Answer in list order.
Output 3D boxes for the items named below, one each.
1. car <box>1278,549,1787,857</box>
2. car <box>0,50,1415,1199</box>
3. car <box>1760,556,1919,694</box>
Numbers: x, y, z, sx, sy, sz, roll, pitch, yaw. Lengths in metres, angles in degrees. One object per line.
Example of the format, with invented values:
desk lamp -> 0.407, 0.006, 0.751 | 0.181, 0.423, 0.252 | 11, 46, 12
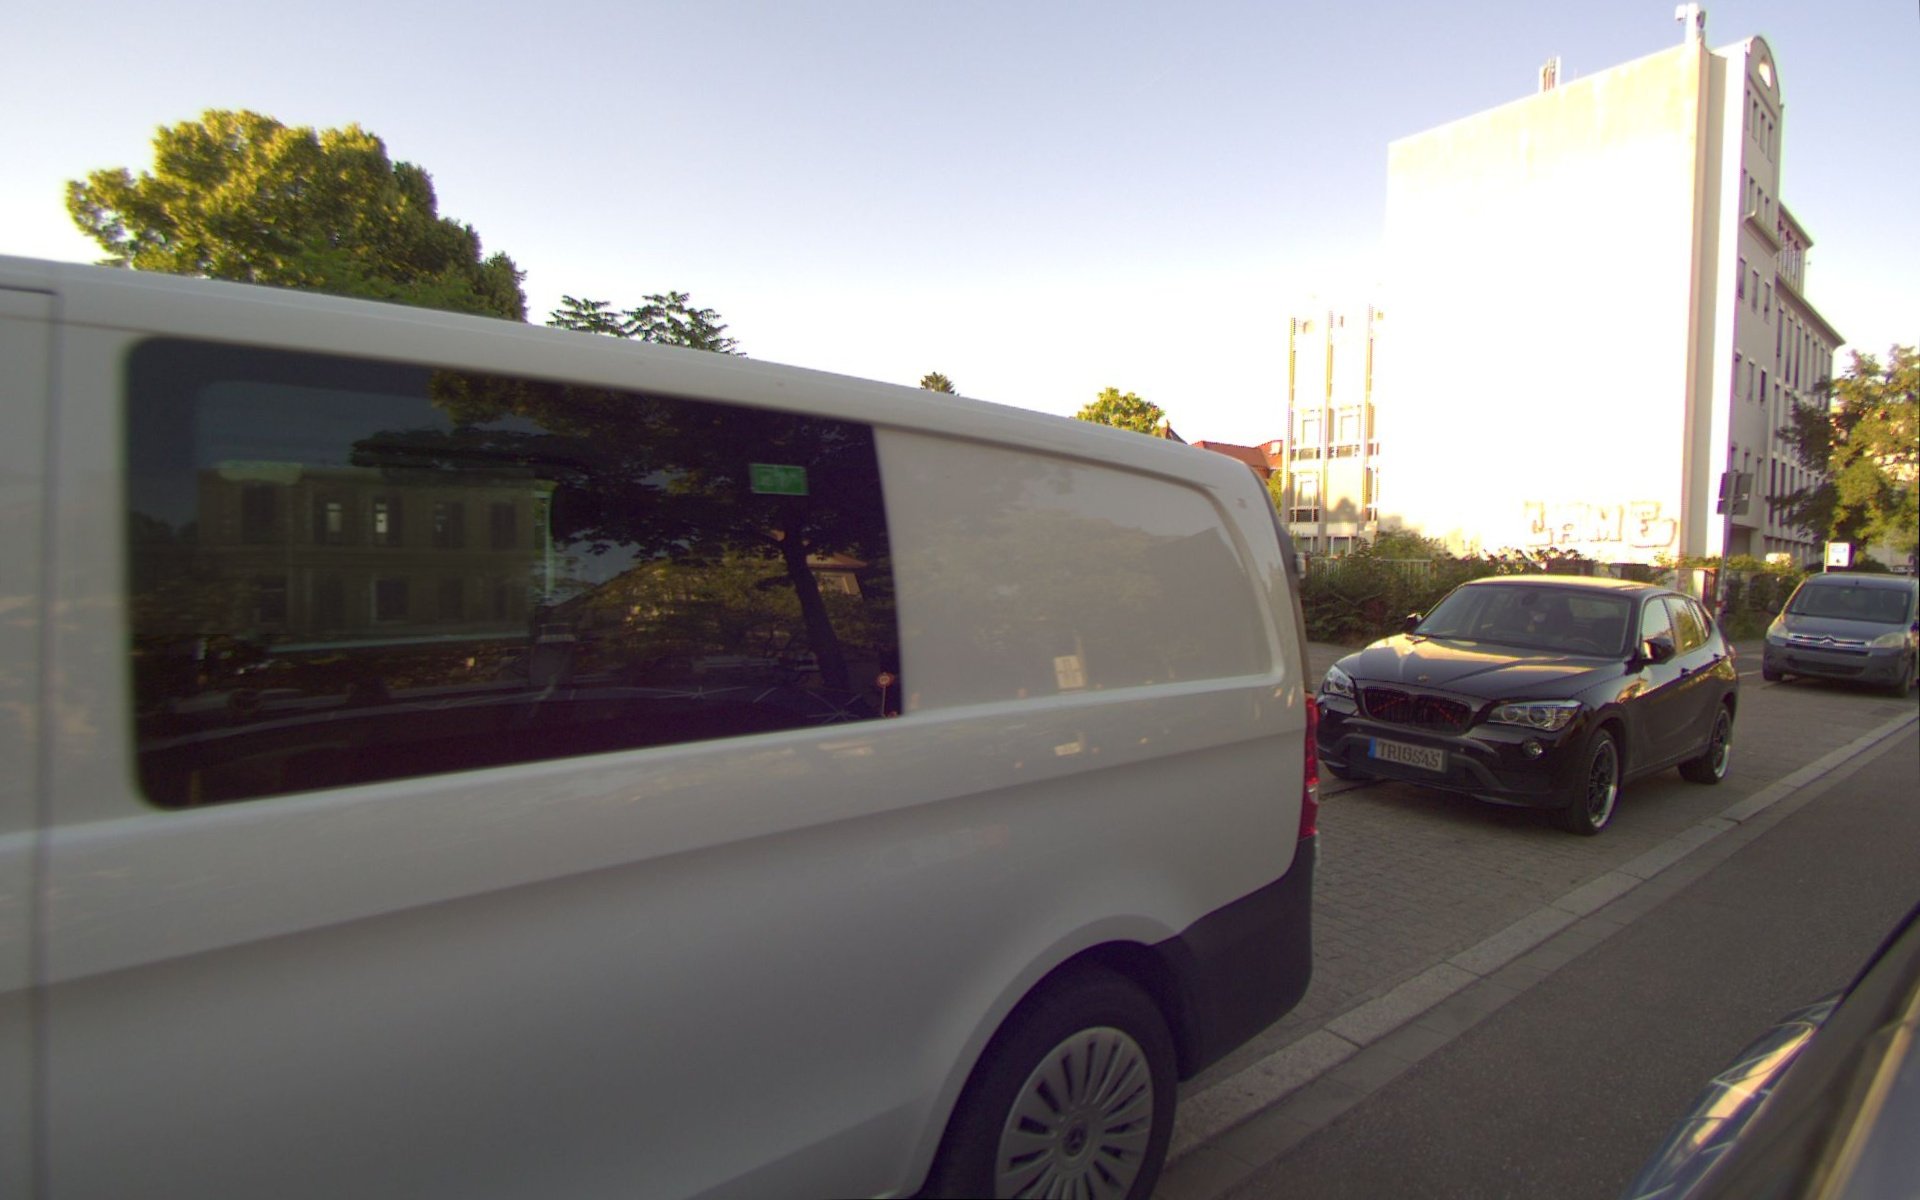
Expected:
car -> 4.455, 0.513, 7.571 | 4.419, 1.593, 1.779 | 0, 5, -40
car -> -1.460, 0.355, 1.823 | 5.084, 1.941, 1.894 | 0, 5, -38
car -> 14.637, 0.307, 16.251 | 4.474, 1.850, 1.779 | -1, 5, -39
